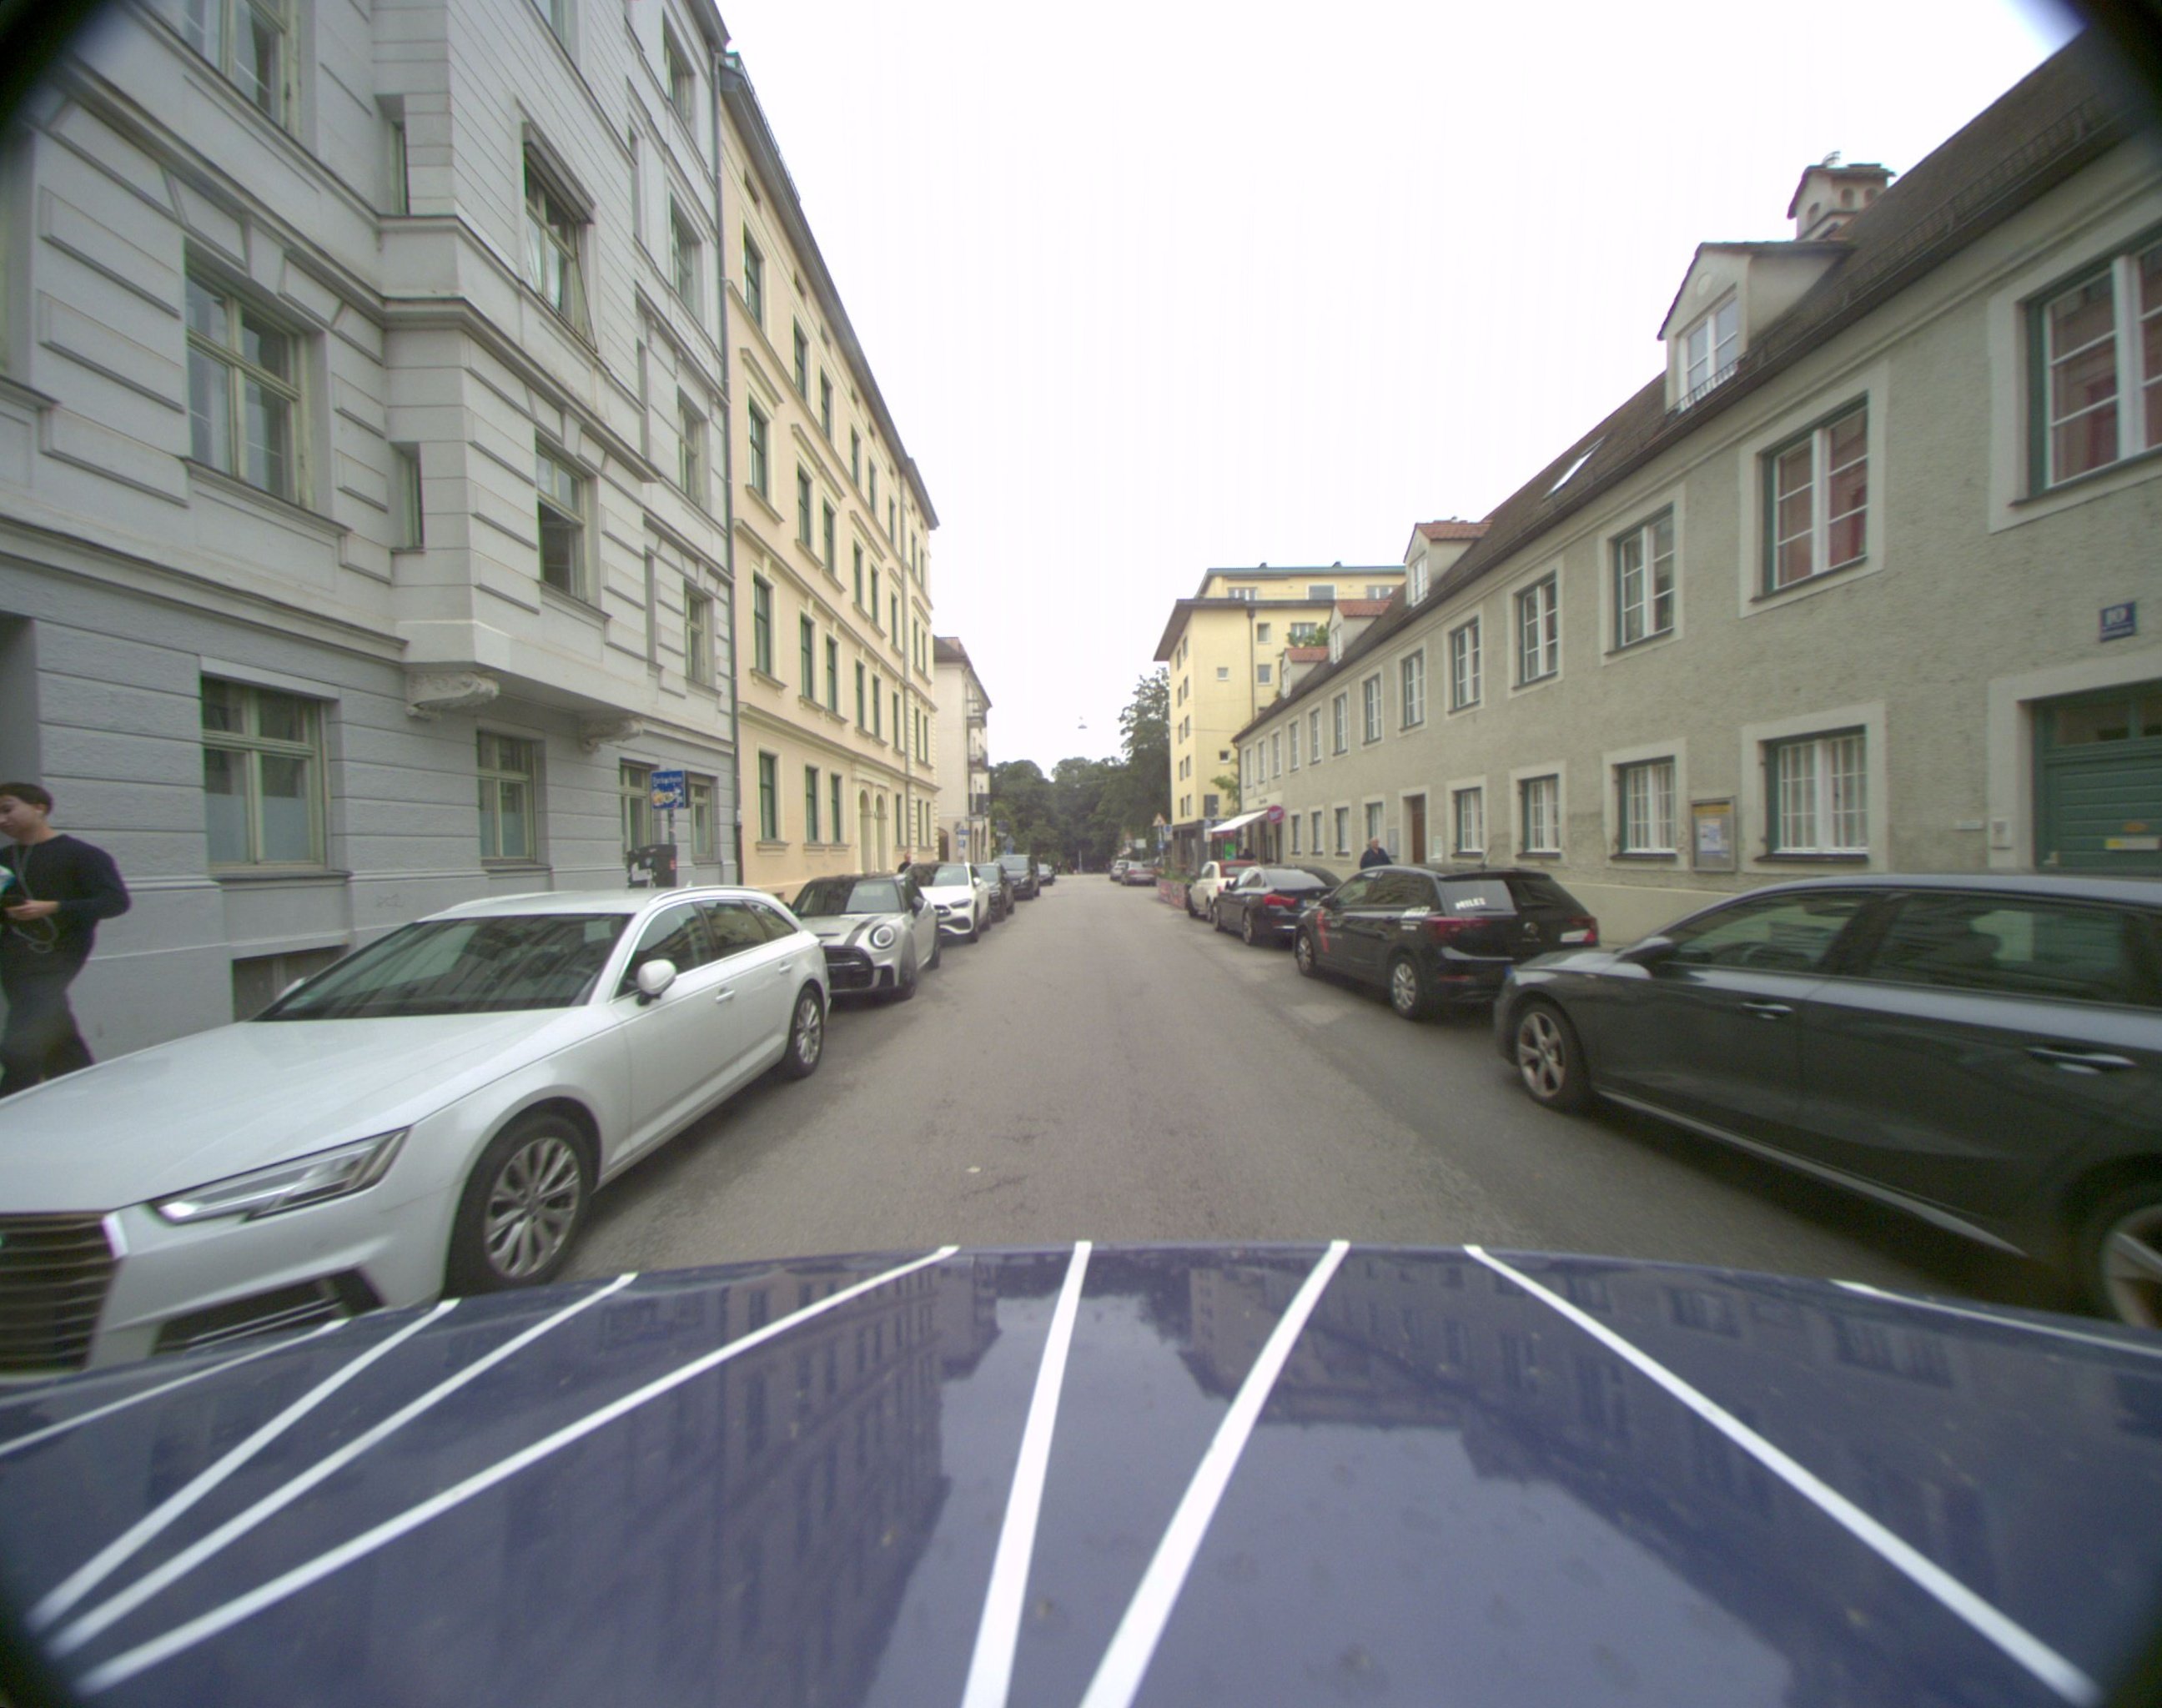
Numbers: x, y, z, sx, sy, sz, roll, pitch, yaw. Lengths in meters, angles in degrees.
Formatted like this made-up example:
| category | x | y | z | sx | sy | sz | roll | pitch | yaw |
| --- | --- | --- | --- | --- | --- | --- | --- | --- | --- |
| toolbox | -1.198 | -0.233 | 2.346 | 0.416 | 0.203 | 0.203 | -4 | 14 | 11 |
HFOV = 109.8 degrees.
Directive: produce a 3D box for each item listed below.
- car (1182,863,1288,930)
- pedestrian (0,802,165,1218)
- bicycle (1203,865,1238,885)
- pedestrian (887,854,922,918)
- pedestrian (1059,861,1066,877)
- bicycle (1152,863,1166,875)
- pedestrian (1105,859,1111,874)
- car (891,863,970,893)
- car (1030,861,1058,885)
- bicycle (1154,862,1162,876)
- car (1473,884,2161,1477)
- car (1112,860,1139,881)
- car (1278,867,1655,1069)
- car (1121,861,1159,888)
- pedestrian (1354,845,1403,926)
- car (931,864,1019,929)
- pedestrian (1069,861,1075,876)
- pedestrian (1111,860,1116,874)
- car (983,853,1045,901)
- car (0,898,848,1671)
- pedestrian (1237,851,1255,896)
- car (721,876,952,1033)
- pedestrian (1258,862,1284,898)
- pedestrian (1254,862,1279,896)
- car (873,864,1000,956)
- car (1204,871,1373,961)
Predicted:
| category | x | y | z | sx | sy | sz | roll | pitch | yaw |
| --- | --- | --- | --- | --- | --- | --- | --- | --- | --- |
| car | 3.802 | 1.002 | 19.402 | 1.759 | 1.466 | 3.713 | -2 | 0 | -3 |
| pedestrian | -5.426 | 0.728 | 3.864 | 0.671 | 1.969 | 0.708 | 2 | 2 | 1 |
| bicycle | 7.678 | 1.142 | 41.970 | 1.822 | 1.028 | 0.392 | -3 | -1 | 3 |
| pedestrian | -4.844 | 0.859 | 20.906 | 0.721 | 1.707 | 1.003 | -1 | 2 | -1 |
| pedestrian | -2.015 | 1.671 | 83.954 | 0.686 | 1.662 | 0.774 | -2 | -3 | 1 |
| bicycle | 7.425 | 1.420 | 71.855 | 0.582 | 1.119 | 2.301 | -2 | 0 | 24 |
| pedestrian | 3.586 | 1.676 | 101.611 | 0.707 | 1.891 | 0.804 | 0 | -2 | 0 |
| car | -8.354 | 1.326 | 42.481 | 4.099 | 1.595 | 1.755 | 0 | -2 | -2 |
| car | -2.437 | 1.252 | 50.556 | 1.680 | 1.416 | 4.203 | -3 | -1 | -2 |
| bicycle | 7.036 | 1.374 | 69.595 | 0.563 | 1.203 | 1.854 | -2 | 0 | 3 |
| car | 3.636 | 0.903 | 3.032 | 1.821 | 1.433 | 4.130 | 0 | 0 | -4 |
| car | 3.398 | 1.272 | 58.689 | 1.807 | 1.574 | 4.339 | 1 | -1 | 0 |
| car | 3.624 | 0.943 | 8.141 | 1.759 | 1.487 | 4.199 | -1 | 0 | -3 |
| car | 3.438 | 1.169 | 45.240 | 1.683 | 1.462 | 4.949 | 0 | 0 | -3 |
| pedestrian | 7.064 | 0.729 | 18.091 | 0.825 | 1.887 | 0.827 | -1 | 2 | -1 |
| car | -2.782 | 1.078 | 20.877 | 1.759 | 1.512 | 4.274 | -1 | 0 | 0 |
| pedestrian | -0.991 | 1.625 | 84.044 | 0.639 | 1.662 | 0.774 | -2 | -3 | 1 |
| pedestrian | 4.323 | 1.740 | 101.596 | 0.634 | 1.770 | 0.801 | 0 | -2 | 0 |
| car | -2.754 | 0.904 | 32.335 | 2.002 | 1.853 | 5.253 | -1 | 0 | 1 |
| car | -2.871 | 1.092 | 4.060 | 1.712 | 1.400 | 4.814 | -1 | 0 | 0 |
| pedestrian | 6.659 | 0.786 | 30.607 | 0.530 | 1.772 | 0.877 | -1 | 2 | 0 |
| car | -2.796 | 1.063 | 9.703 | 1.713 | 1.396 | 4.206 | -1 | 0 | -2 |
| pedestrian | 7.059 | 0.963 | 28.247 | 0.805 | 1.283 | 0.693 | -1 | 2 | 0 |
| pedestrian | 7.065 | 0.945 | 28.971 | 0.805 | 1.282 | 0.693 | -1 | 2 | 0 |
| car | -2.856 | 1.045 | 15.994 | 1.747 | 1.574 | 4.466 | -1 | 0 | 0 |
| car | 3.627 | 1.025 | 14.247 | 1.803 | 1.331 | 4.685 | -1 | -1 | -1 |
